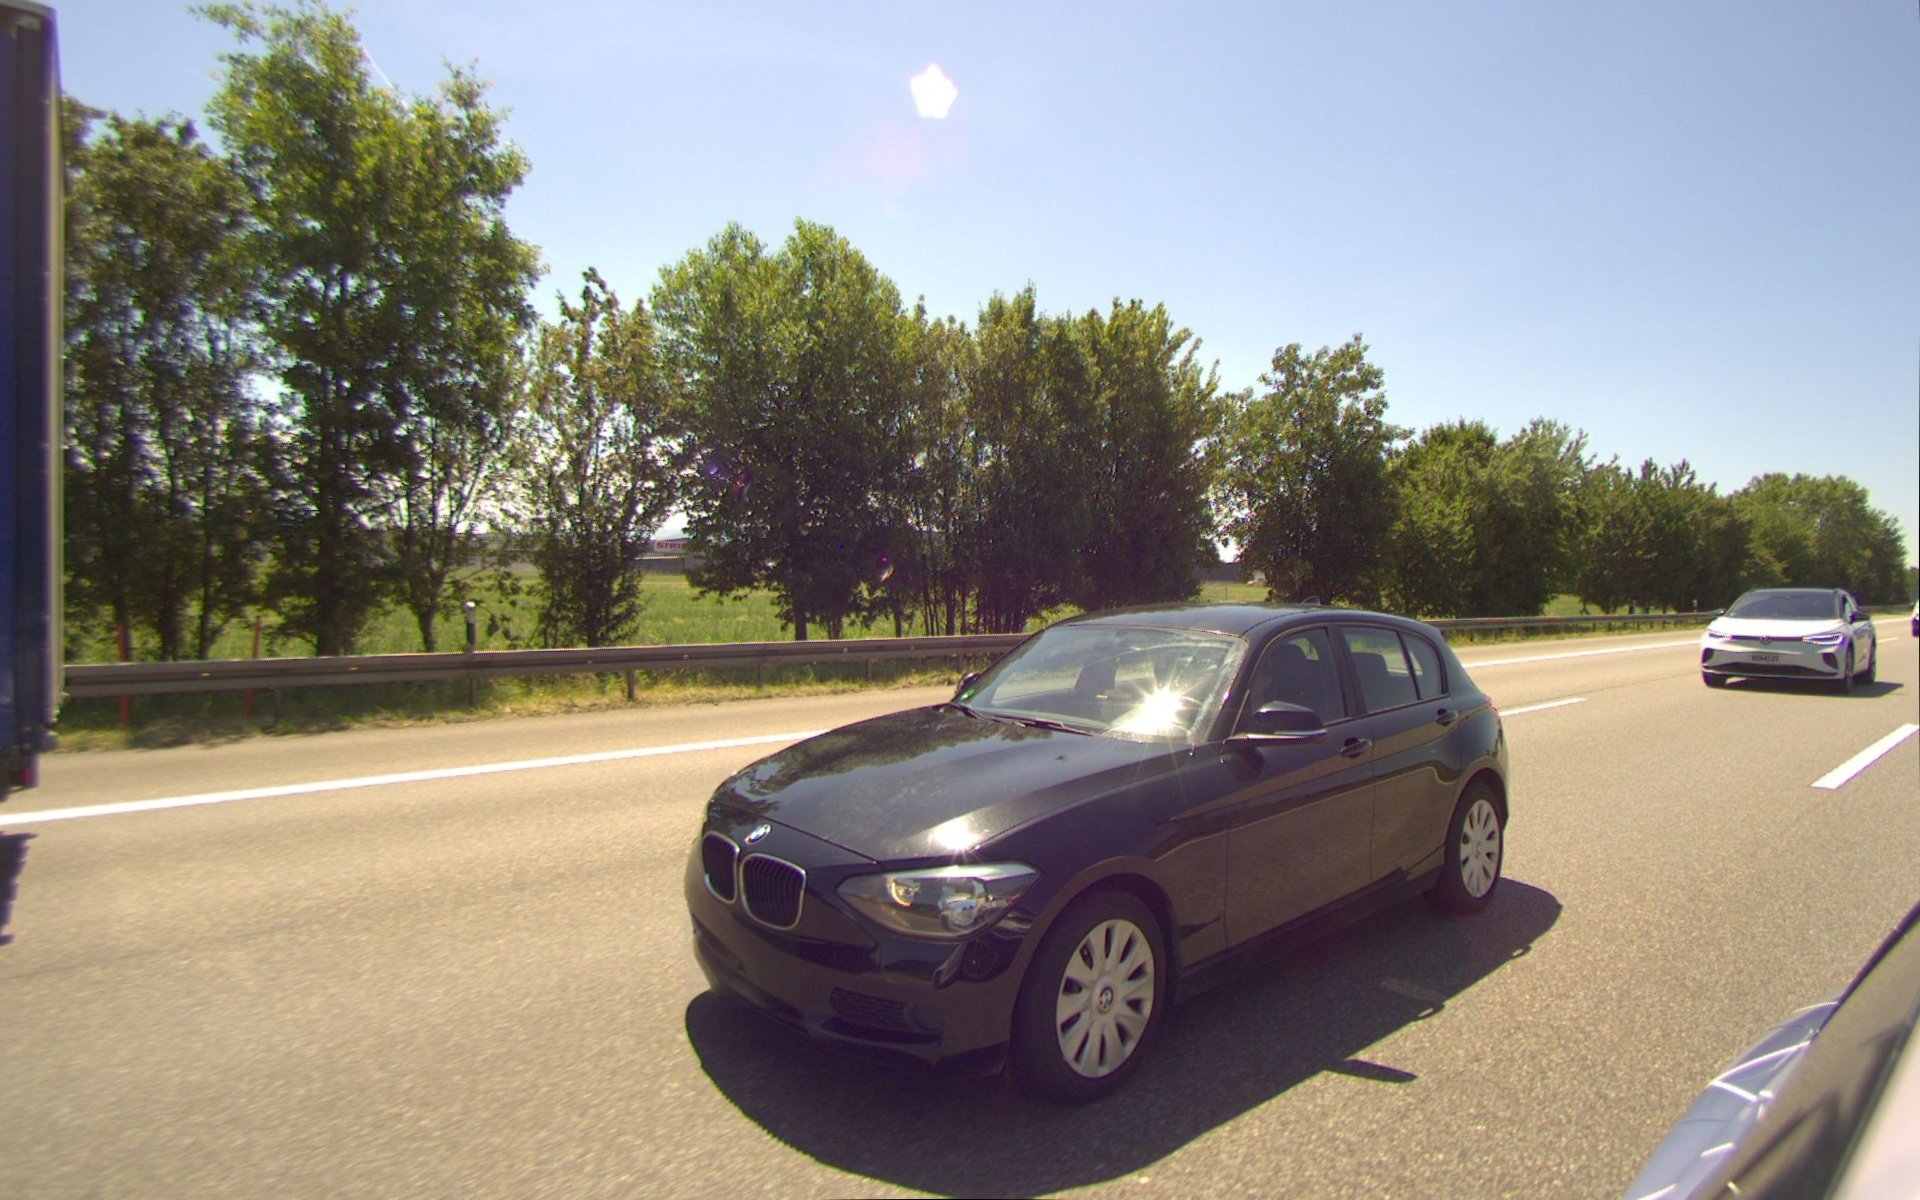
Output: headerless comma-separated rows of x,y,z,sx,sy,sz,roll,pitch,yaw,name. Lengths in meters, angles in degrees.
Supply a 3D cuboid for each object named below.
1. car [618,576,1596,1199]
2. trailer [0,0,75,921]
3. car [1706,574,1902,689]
1.007,0.641,4.467,4.419,1.435,1.839,0,2,-41,car
-8.776,-0.782,1.931,10.618,4.257,2.795,0,1,-41,trailer
14.106,0.433,16.846,3.930,1.664,1.885,0,2,-41,car
